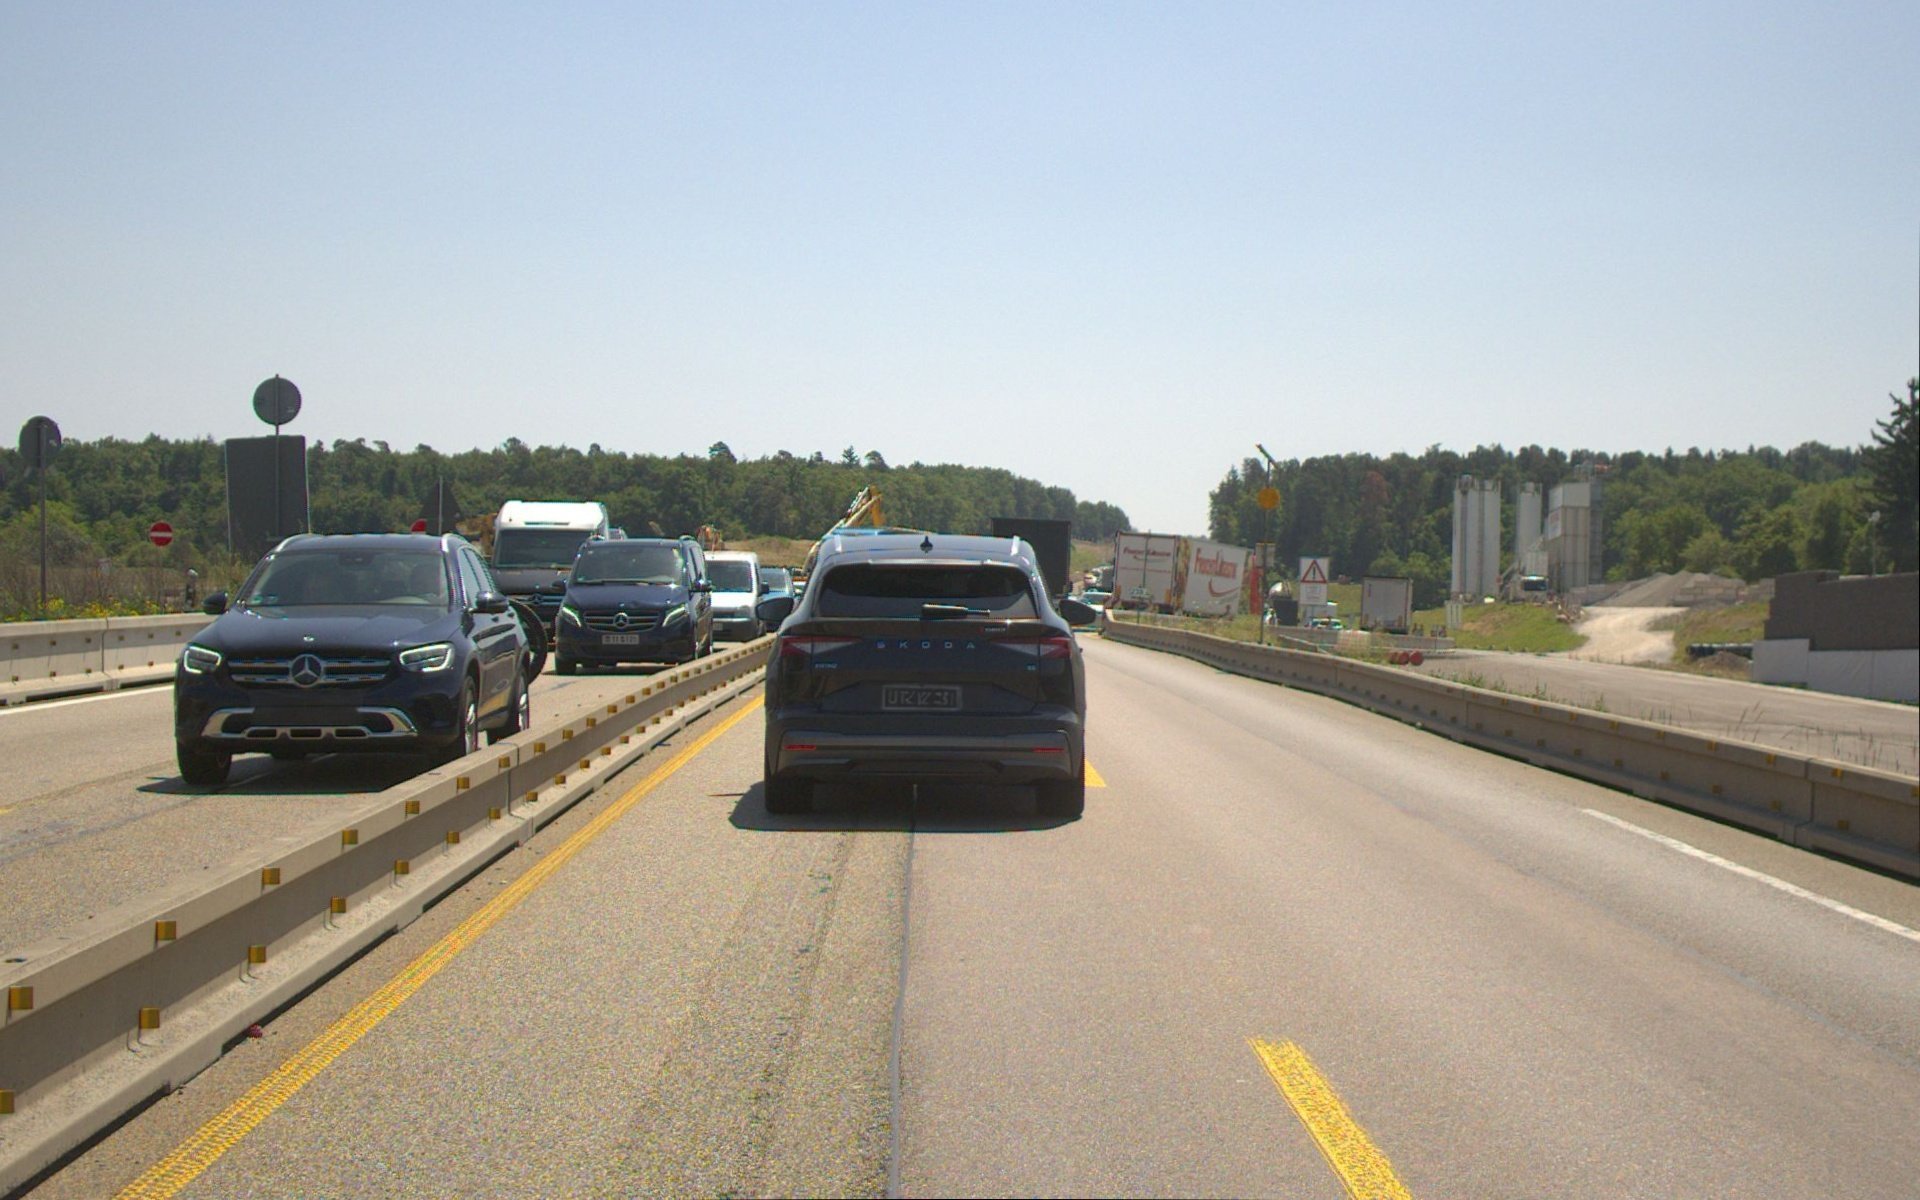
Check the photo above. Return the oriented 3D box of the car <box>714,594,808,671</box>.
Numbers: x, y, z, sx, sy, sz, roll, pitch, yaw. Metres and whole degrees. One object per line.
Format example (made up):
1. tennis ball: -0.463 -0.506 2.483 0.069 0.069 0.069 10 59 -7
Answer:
1. car: -4.533 0.725 78.688 1.904 1.603 4.000 1 1 0

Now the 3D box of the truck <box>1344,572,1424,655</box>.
1. truck: 24.229 0.800 196.070 3.477 4.206 10.371 7 1 10

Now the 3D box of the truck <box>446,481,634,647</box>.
1. truck: -7.644 -0.648 63.535 2.480 2.814 8.129 1 0 0

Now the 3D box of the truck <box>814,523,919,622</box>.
1. truck: -3.953 -1.136 146.856 2.916 4.115 6.134 1 0 13

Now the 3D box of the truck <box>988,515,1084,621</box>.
1. truck: 2.250 -0.959 100.298 2.673 2.935 5.620 1 1 2

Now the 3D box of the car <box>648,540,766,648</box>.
1. car: -4.559 -0.145 62.504 1.853 1.833 4.591 1 1 -1

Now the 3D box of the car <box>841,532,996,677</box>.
1. car: -0.608 0.056 47.842 1.993 1.837 4.000 3 0 -2

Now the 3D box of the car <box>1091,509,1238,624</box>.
1. car: 8.426 -1.289 140.323 3.440 4.087 9.188 6 0 18

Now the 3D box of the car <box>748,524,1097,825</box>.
1. car: -0.195 0.381 20.537 1.842 1.576 4.000 2 1 0

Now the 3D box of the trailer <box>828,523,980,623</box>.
1. trailer: -2.345 -1.116 152.825 2.916 4.115 13.905 1 0 15

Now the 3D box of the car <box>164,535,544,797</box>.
1. car: -4.071 0.370 23.824 1.855 1.598 4.736 1 1 -1

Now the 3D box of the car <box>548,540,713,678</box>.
1. car: -4.606 0.081 48.656 1.907 1.798 5.082 1 1 -1
